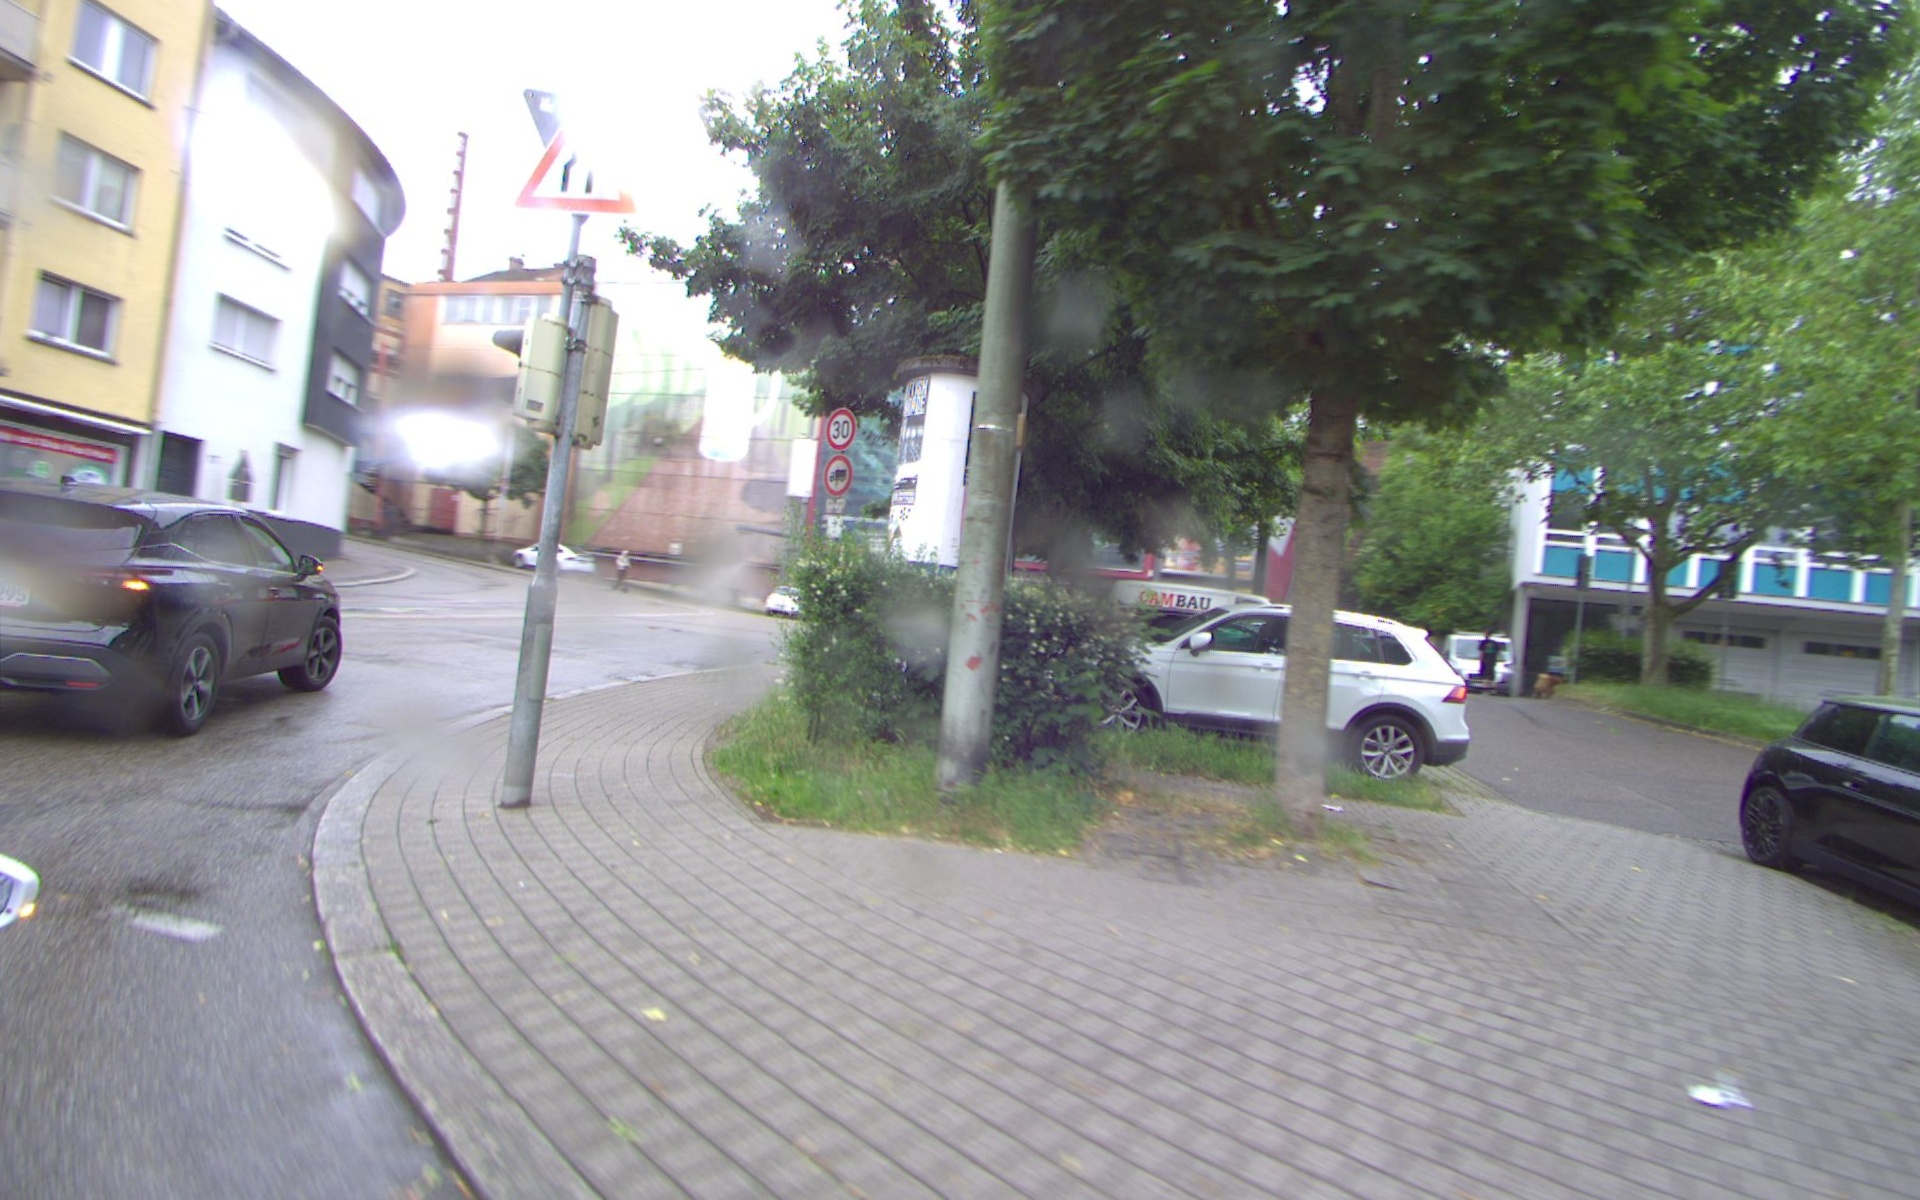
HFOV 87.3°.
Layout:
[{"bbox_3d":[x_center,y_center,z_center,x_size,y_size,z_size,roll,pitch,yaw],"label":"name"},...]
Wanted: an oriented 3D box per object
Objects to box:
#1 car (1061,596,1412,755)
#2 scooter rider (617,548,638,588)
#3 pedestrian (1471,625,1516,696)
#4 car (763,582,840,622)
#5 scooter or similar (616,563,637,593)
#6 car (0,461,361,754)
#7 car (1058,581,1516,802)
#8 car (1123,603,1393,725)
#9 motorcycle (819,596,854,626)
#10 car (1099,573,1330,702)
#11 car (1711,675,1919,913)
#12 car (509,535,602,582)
[{"bbox_3d":[3.533,0.924,13.413,4.131,1.502,1.637,7,2,9],"label":"car"},{"bbox_3d":[-15.777,-1.512,47.725,0.793,1.844,0.778,6,1,-19],"label":"scooter rider"},{"bbox_3d":[13.595,1.537,25.656,0.705,1.724,0.675,4,0,8],"label":"pedestrian"},{"bbox_3d":[-7.370,0.124,47.073,1.840,1.552,3.992,7,0,18],"label":"car"},{"bbox_3d":[-15.815,-1.052,47.715,0.793,1.339,1.403,6,0,-19],"label":"scooter or similar"},{"bbox_3d":[-6.220,-0.033,7.605,1.859,1.612,3.908,8,-1,-17],"label":"car"},{"bbox_3d":[3.229,0.861,10.597,4.131,1.643,1.637,7,2,9],"label":"car"},{"bbox_3d":[4.979,1.028,17.307,4.131,1.502,1.637,7,2,9],"label":"car"},{"bbox_3d":[-5.571,0.497,45.445,1.396,1.174,0.453,7,-2,9],"label":"motorcycle"},{"bbox_3d":[5.085,0.705,20.137,4.133,1.986,1.636,7,2,19],"label":"car"},{"bbox_3d":[6.870,1.349,6.566,1.606,1.382,3.704,6,0,12],"label":"car"},{"bbox_3d":[-21.516,-2.204,53.443,4.832,1.636,1.857,10,0,31],"label":"car"}]
